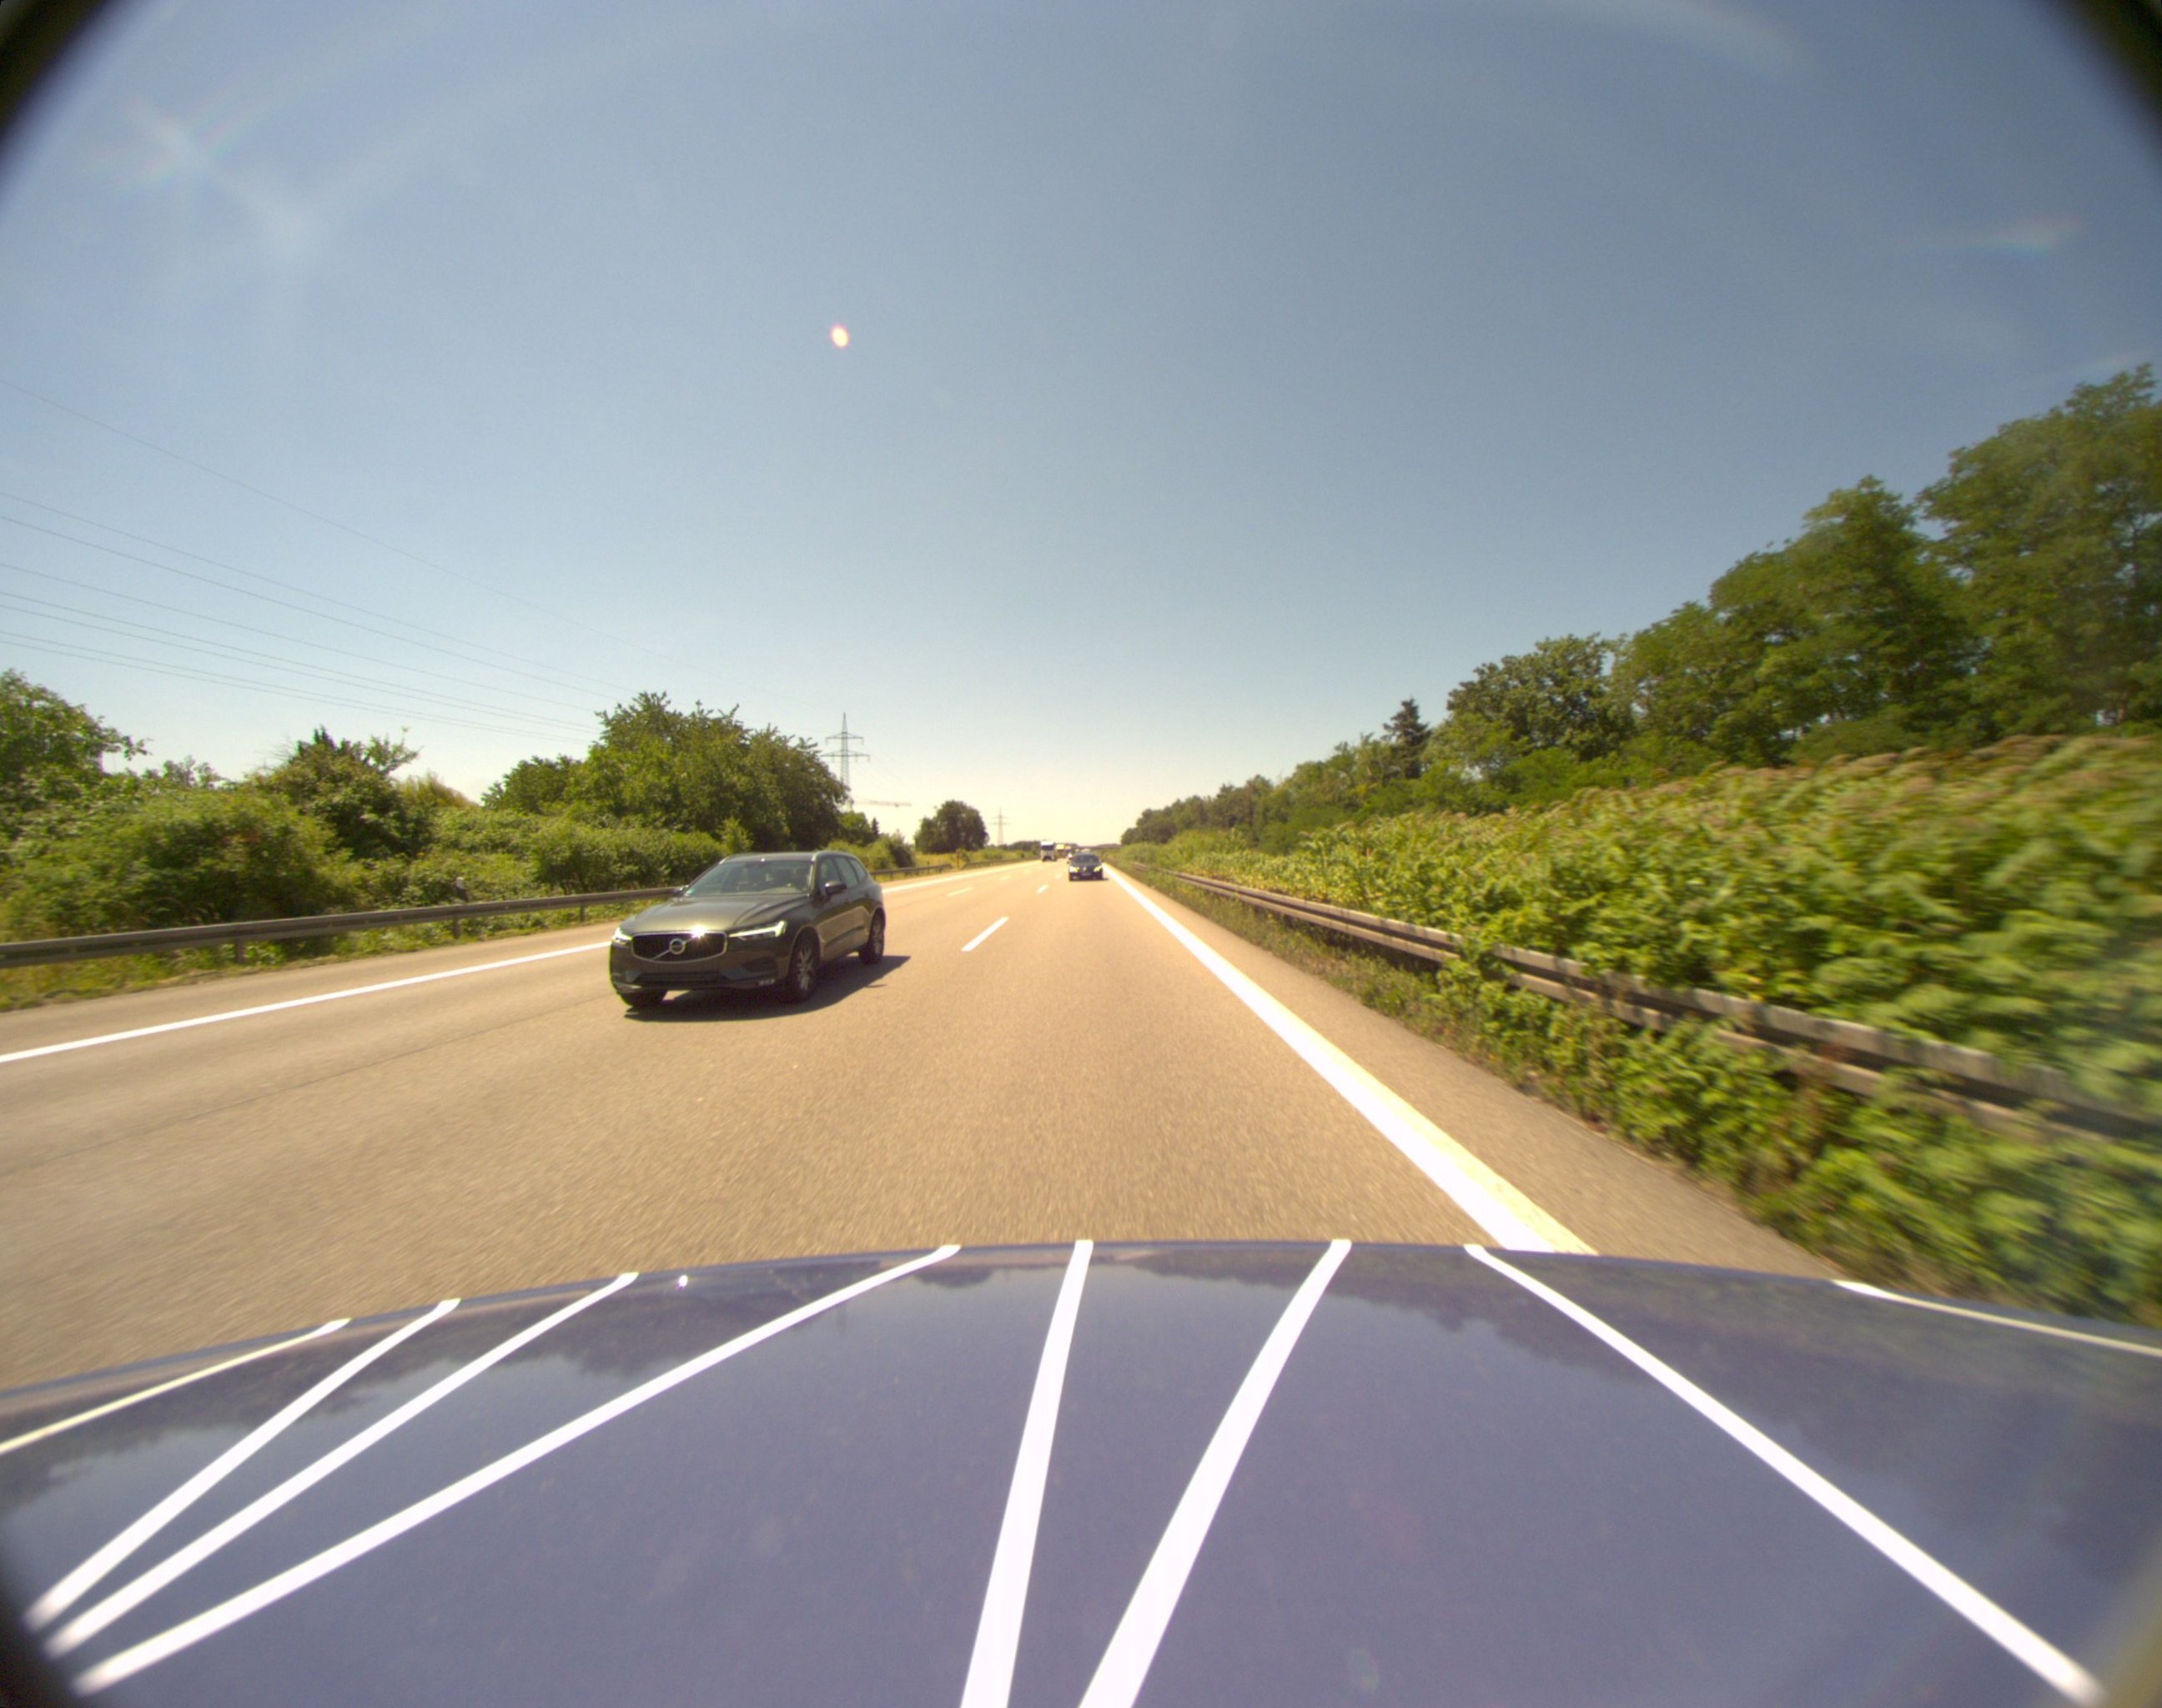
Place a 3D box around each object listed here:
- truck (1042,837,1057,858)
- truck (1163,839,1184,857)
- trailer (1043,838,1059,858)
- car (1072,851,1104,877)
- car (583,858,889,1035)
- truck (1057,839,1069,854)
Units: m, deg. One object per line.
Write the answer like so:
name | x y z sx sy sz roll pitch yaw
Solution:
truck | -6.034 -1.212 146.742 2.573 3.871 5.722 -2 1 0
truck | 18.551 -1.207 152.769 2.794 3.413 11.979 1 1 1
trailer | -6.050 -1.268 153.417 2.573 3.871 13.278 -2 1 0
car | 0.394 0.573 45.381 1.808 1.385 3.999 -2 1 0
car | -3.842 0.911 9.358 1.878 1.614 4.003 -2 0 0
truck | -5.112 -2.127 219.612 2.978 4.240 12.609 0 1 0
